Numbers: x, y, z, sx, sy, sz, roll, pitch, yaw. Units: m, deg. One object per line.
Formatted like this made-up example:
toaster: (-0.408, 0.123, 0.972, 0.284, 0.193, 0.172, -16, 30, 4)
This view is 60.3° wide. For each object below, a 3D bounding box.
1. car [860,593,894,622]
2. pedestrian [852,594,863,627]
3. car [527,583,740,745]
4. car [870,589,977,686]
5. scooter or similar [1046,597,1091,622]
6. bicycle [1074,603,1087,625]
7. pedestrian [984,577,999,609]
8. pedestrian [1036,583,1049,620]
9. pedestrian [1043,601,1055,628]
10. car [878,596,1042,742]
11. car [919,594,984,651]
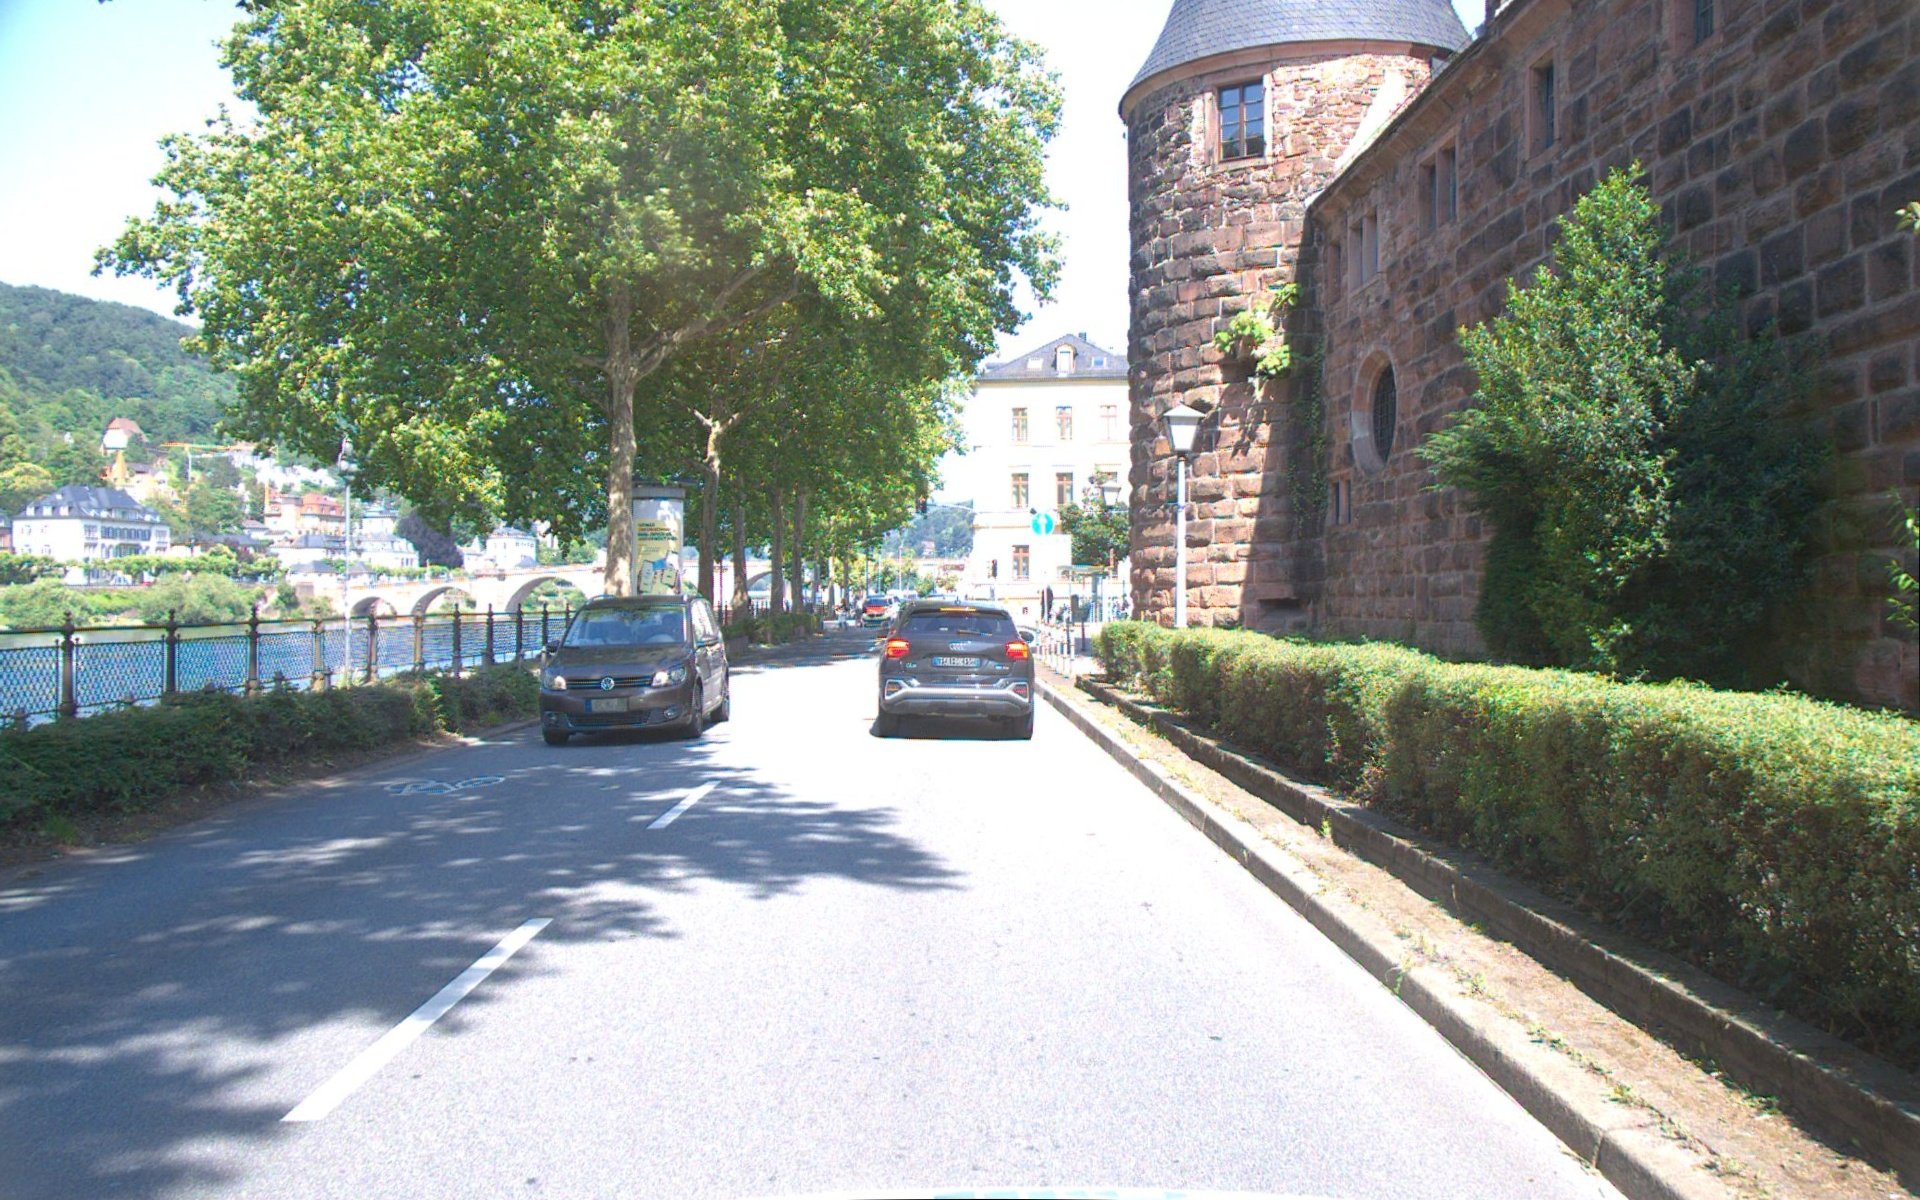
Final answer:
car: (-4.548, 0.389, 91.181, 1.581, 1.549, 3.477, -1, 0, 1)
pedestrian: (-5.242, 0.544, 84.828, 0.507, 1.666, 0.438, -1, 0, -8)
car: (-3.753, 0.678, 19.657, 1.727, 1.676, 4.089, -1, 0, -1)
car: (-0.628, 0.628, 29.802, 1.764, 1.590, 3.715, -1, 0, -1)
scooter or similar: (4.481, 0.398, 68.564, 1.808, 0.980, 0.429, 2, 0, -2)
bicycle: (5.780, 0.668, 79.392, 0.441, 0.992, 1.399, 2, 0, 0)
pedestrian: (1.594, -0.346, 83.696, 0.731, 1.585, 0.588, 1, -1, 0)
pedestrian: (3.785, 0.074, 76.050, 0.545, 1.661, 0.660, 1, -1, 0)
pedestrian: (4.143, 0.671, 77.003, 0.535, 1.222, 0.522, 2, 0, 0)
car: (-0.056, 0.732, 19.424, 1.713, 1.520, 3.627, 1, 0, -2)
car: (-0.254, 0.620, 47.186, 1.764, 1.549, 3.715, 0, 0, -1)
